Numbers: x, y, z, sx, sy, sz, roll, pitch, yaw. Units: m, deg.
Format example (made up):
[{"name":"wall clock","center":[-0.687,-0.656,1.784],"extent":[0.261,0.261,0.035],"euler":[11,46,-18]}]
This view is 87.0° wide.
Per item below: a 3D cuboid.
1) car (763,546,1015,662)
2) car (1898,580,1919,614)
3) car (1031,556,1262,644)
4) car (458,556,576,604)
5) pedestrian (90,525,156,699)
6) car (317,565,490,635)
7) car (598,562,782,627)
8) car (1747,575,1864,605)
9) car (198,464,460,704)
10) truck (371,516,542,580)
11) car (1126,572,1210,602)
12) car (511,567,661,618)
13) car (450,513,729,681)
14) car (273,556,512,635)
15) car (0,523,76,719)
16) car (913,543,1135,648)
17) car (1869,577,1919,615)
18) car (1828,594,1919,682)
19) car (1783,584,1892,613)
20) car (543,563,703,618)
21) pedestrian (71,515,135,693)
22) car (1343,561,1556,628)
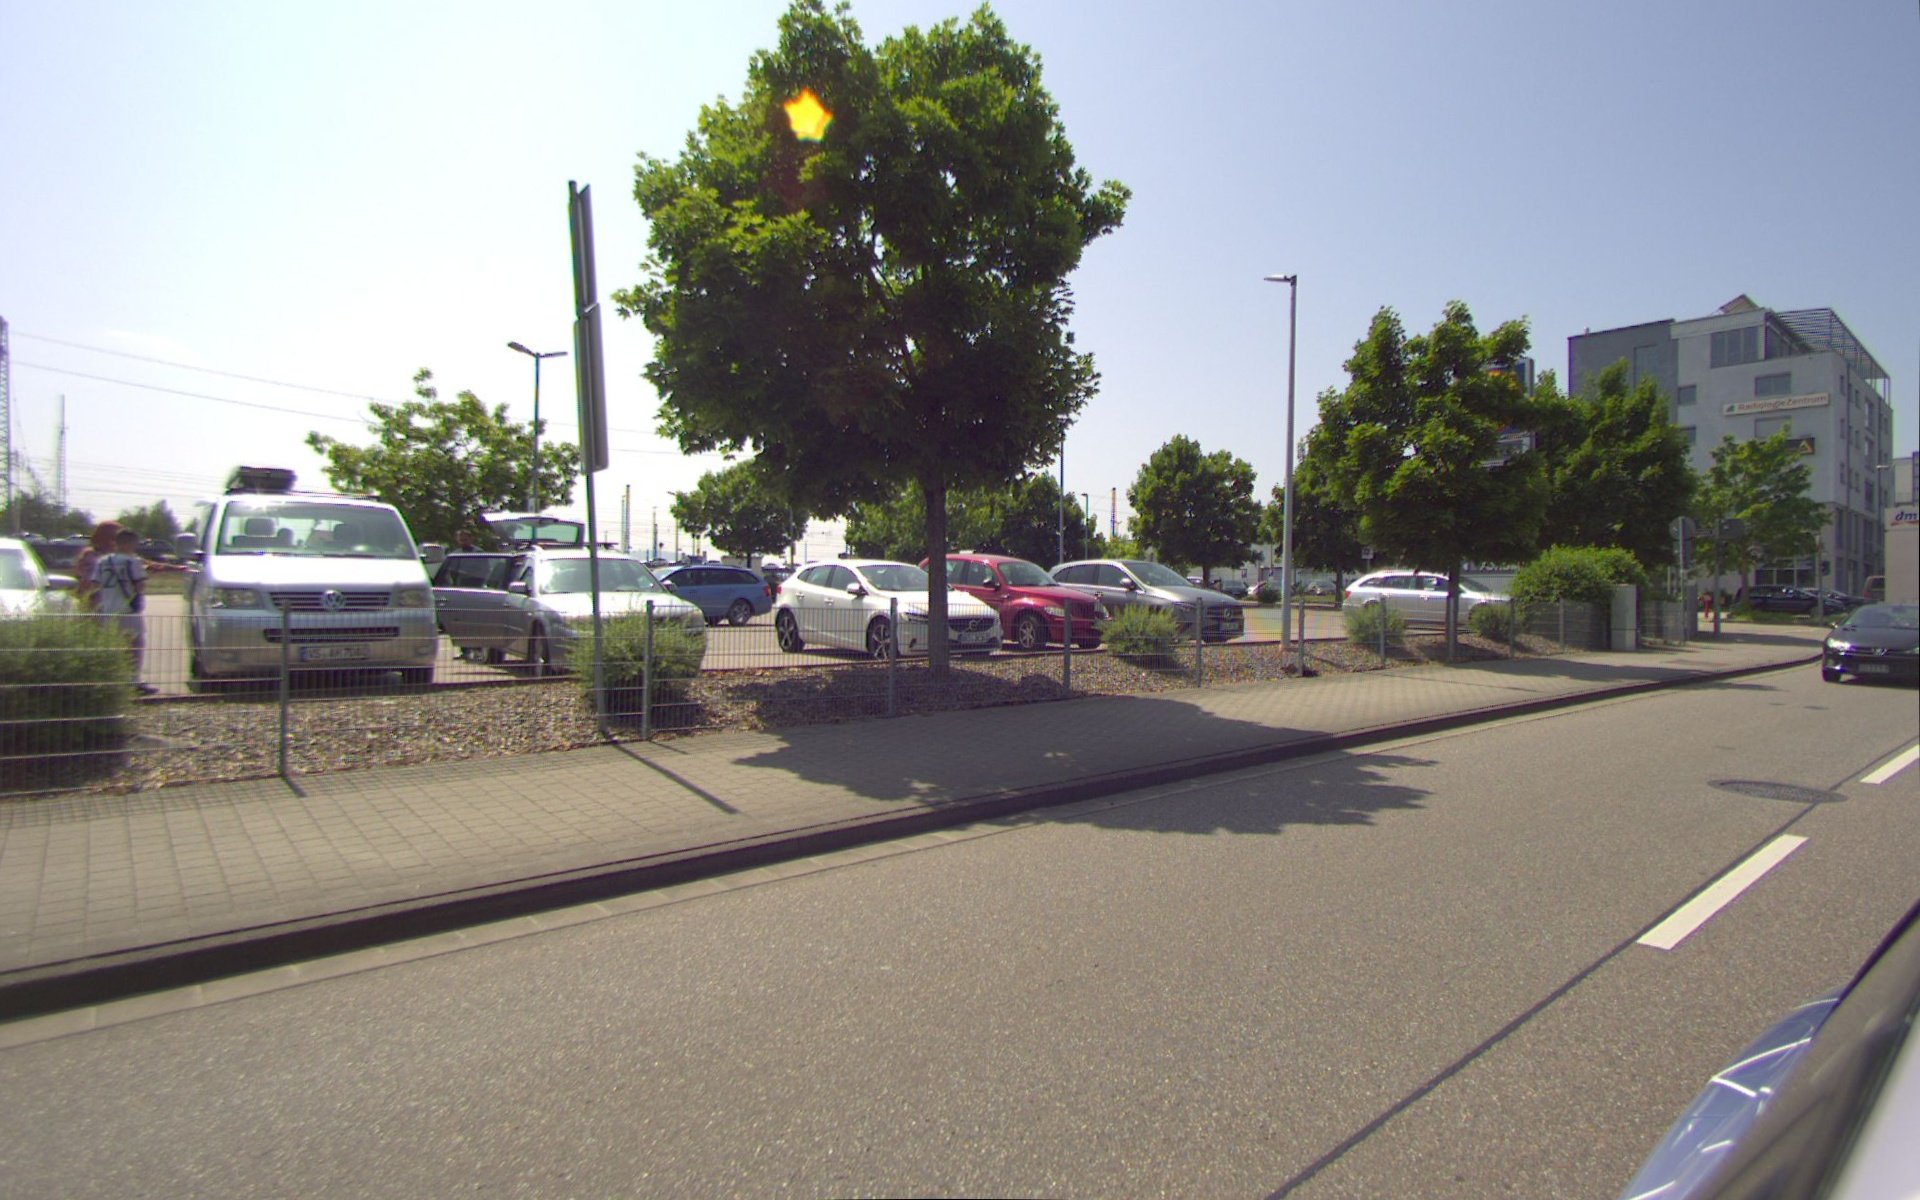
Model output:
[{"name":"car","center":[-1.154,0.032,14.728],"extent":[1.667,1.439,4.005],"euler":[0,0,-39]},{"name":"car","center":[50.746,-0.253,51.261],"extent":[1.963,1.721,4.421],"euler":[-1,-2,-36]},{"name":"car","center":[3.308,-0.020,18.656],"extent":[1.666,1.439,4.182],"euler":[0,0,-37]},{"name":"car","center":[-16.716,-0.747,38.220],"extent":[3.785,1.705,1.786],"euler":[0,1,-36]},{"name":"pedestrian","center":[-7.686,0.102,9.306],"extent":[0.438,1.544,0.417],"euler":[0,1,-36]},{"name":"car","center":[-12.375,-0.018,22.584],"extent":[3.196,1.437,1.267],"euler":[0,2,-41]},{"name":"car","center":[-6.468,-0.163,24.459],"extent":[3.930,1.437,1.732],"euler":[0,2,-41]},{"name":"car","center":[40.197,-0.496,48.176],"extent":[1.830,1.356,3.995],"euler":[0,1,-40]},{"name":"car","center":[-6.767,-0.148,10.595],"extent":[1.794,1.949,4.627],"euler":[0,0,-39]},{"name":"truck","center":[-33.467,-3.363,67.529],"extent":[9.847,3.885,2.859],"euler":[0,2,-37]},{"name":"car","center":[10.512,-0.637,51.047],"extent":[4.066,1.404,1.998],"euler":[0,-1,-38]},{"name":"car","center":[-11.342,-0.232,30.842],"extent":[3.930,1.437,1.732],"euler":[0,2,-41]},{"name":"car","center":[-4.537,-0.048,11.970],"extent":[1.794,1.613,4.376],"euler":[0,0,-39]},{"name":"car","center":[-11.331,-0.108,20.341],"extent":[3.930,1.437,1.732],"euler":[0,2,-41]},{"name":"car","center":[-8.658,0.133,8.413],"extent":[1.794,1.407,3.996],"euler":[0,0,-39]},{"name":"car","center":[0.984,-0.083,16.971],"extent":[1.693,1.556,3.595],"euler":[0,0,-41]},{"name":"car","center":[47.995,-0.250,49.578],"extent":[2.141,1.821,4.708],"euler":[0,-2,-35]},{"name":"car","center":[16.522,0.602,17.474],"extent":[3.435,1.373,1.642],"euler":[0,2,-37]},{"name":"car","center":[43.774,-0.087,50.535],"extent":[1.725,1.356,3.879],"euler":[0,1,-40]},{"name":"car","center":[-9.448,-0.272,28.556],"extent":[3.930,1.437,1.732],"euler":[0,2,-41]},{"name":"pedestrian","center":[-8.113,0.028,9.582],"extent":[0.439,1.635,0.416],"euler":[0,1,-44]},{"name":"car","center":[12.232,-0.146,25.549],"extent":[1.668,1.524,4.585],"euler":[0,0,-40]}]
